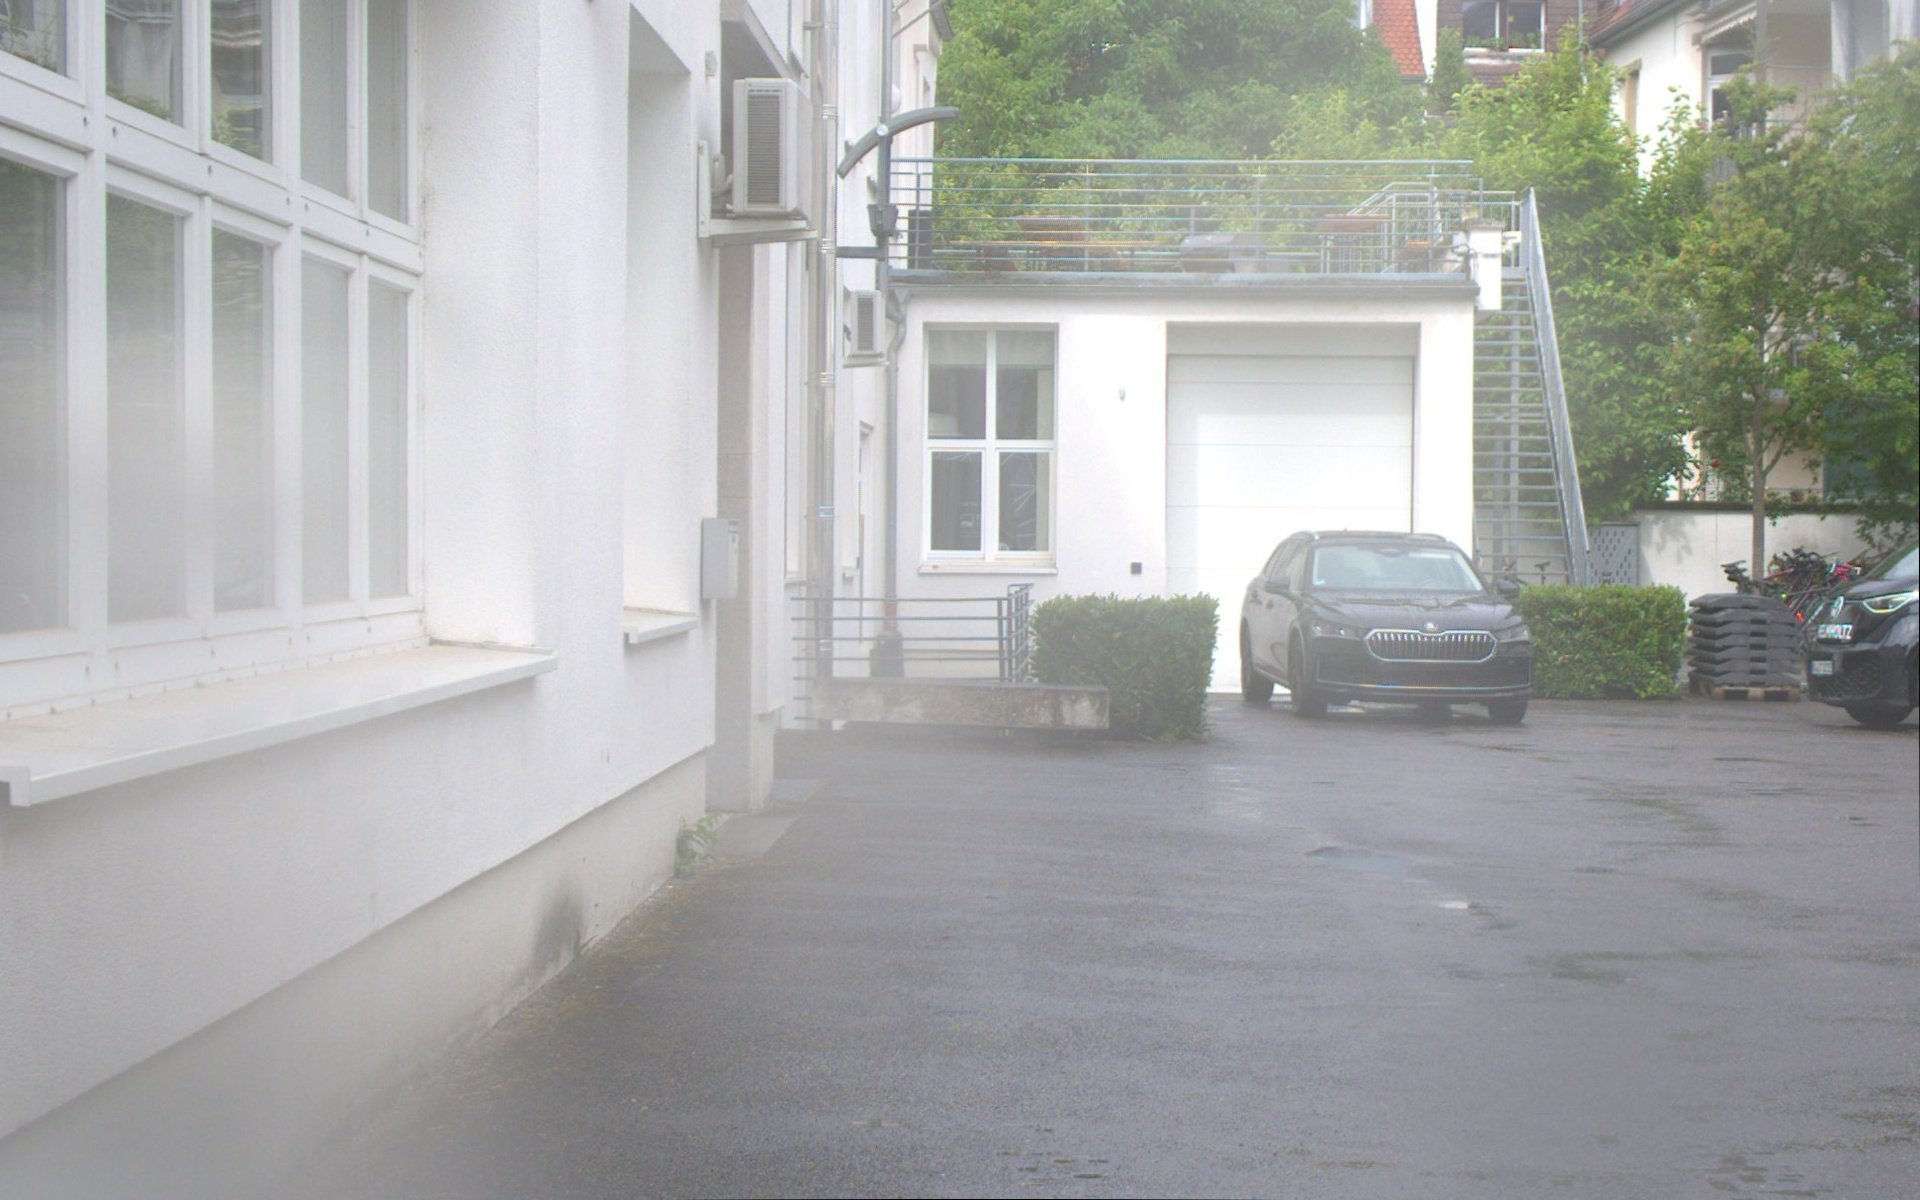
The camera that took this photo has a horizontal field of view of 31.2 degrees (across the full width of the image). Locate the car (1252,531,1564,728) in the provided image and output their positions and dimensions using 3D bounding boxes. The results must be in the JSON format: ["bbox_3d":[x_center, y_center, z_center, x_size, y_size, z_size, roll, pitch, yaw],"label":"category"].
[{"bbox_3d":[3.545,0.180,27.905,1.979,1.439,4.000,1,1,0],"label":"car"}]

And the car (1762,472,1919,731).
[{"bbox_3d":[9.163,-0.047,27.986,4.634,1.996,2.226,-1,2,-8],"label":"car"}]
